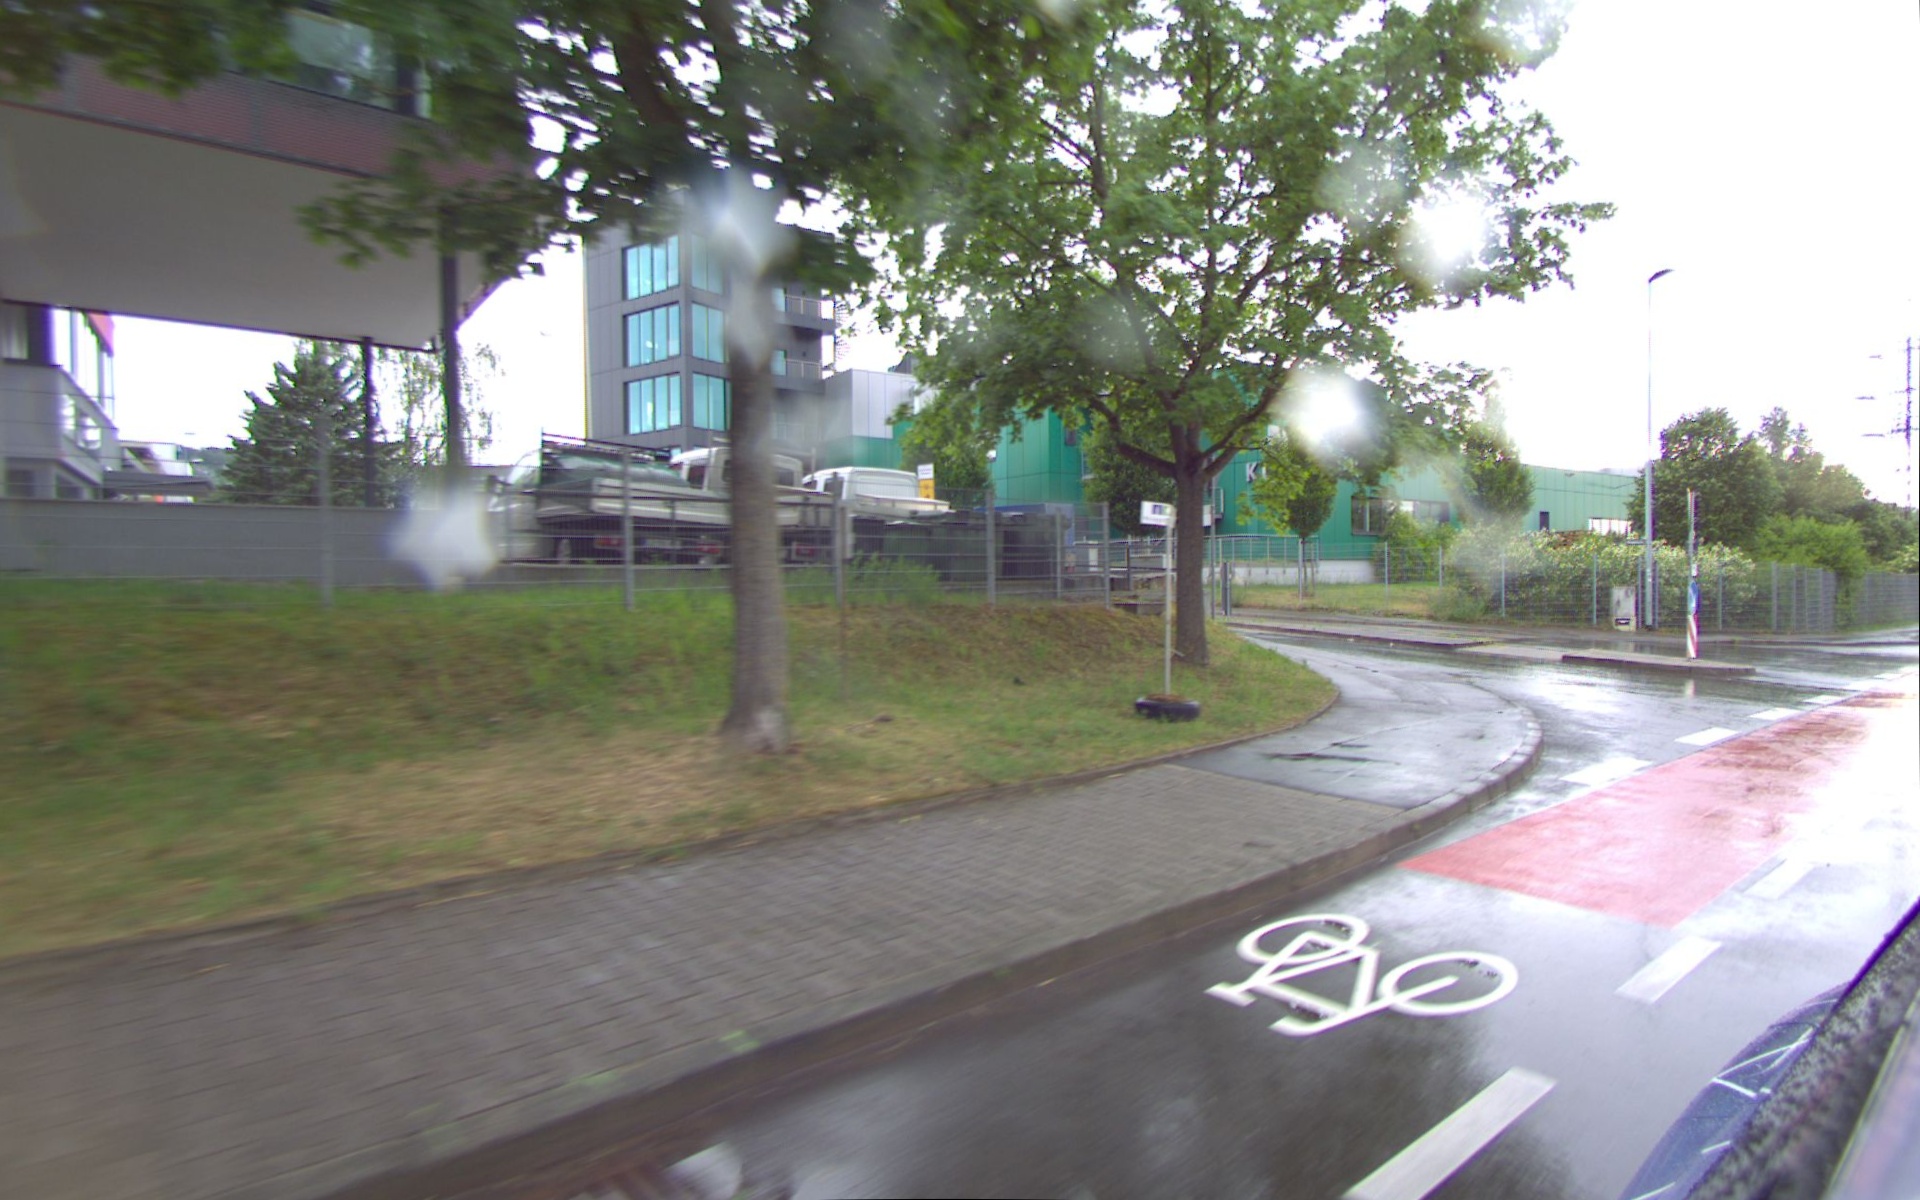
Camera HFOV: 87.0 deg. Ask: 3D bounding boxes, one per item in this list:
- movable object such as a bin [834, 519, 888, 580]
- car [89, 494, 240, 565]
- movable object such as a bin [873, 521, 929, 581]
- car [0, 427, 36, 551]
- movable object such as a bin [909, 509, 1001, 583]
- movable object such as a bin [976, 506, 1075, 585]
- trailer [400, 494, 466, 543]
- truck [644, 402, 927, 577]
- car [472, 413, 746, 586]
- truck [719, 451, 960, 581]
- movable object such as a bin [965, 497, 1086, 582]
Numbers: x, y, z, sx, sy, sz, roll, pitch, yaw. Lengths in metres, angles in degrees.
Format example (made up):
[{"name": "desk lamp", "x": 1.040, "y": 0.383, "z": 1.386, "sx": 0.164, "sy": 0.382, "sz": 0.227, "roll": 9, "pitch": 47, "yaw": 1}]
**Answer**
[{"name": "movable object such as a bin", "x": -1.357, "y": -0.693, "z": 13.854, "sx": 0.514, "sy": 0.811, "sz": 0.539, "roll": 0, "pitch": 3, "yaw": -40}, {"name": "car", "x": -18.565, "y": -1.624, "z": 23.729, "sx": 2.670, "sy": 1.464, "sz": 1.678, "roll": 1, "pitch": 2, "yaw": -37}, {"name": "movable object such as a bin", "x": -0.835, "y": -0.699, "z": 14.348, "sx": 0.556, "sy": 0.827, "sz": 0.539, "roll": 0, "pitch": 3, "yaw": -40}, {"name": "car", "x": -17.801, "y": -1.901, "z": 16.511, "sx": 3.929, "sy": 2.038, "sz": 1.998, "roll": 0, "pitch": 3, "yaw": -40}, {"name": "movable object such as a bin", "x": -0.075, "y": -0.800, "z": 15.080, "sx": 1.034, "sy": 1.055, "sz": 0.884, "roll": 0, "pitch": 3, "yaw": -38}, {"name": "movable object such as a bin", "x": 1.020, "y": -0.849, "z": 15.881, "sx": 1.122, "sy": 1.176, "sz": 1.026, "roll": 0, "pitch": 3, "yaw": -40}, {"name": "trailer", "x": -47.286, "y": -7.303, "z": 90.859, "sx": 4.613, "sy": 4.139, "sz": 2.388, "roll": 2, "pitch": 2, "yaw": 3}, {"name": "truck", "x": -2.978, "y": -1.680, "z": 16.413, "sx": 2.212, "sy": 2.370, "sz": 4.828, "roll": 0, "pitch": 4, "yaw": -43}, {"name": "car", "x": -5.203, "y": -1.339, "z": 14.535, "sx": 2.027, "sy": 2.038, "sz": 4.933, "roll": 0, "pitch": 3, "yaw": -41}, {"name": "truck", "x": -2.627, "y": -1.646, "z": 20.516, "sx": 2.075, "sy": 2.241, "sz": 5.648, "roll": 0, "pitch": 3, "yaw": -40}, {"name": "movable object such as a bin", "x": 1.242, "y": -1.144, "z": 19.198, "sx": 1.848, "sy": 1.518, "sz": 1.294, "roll": 4, "pitch": 3, "yaw": 36}]
